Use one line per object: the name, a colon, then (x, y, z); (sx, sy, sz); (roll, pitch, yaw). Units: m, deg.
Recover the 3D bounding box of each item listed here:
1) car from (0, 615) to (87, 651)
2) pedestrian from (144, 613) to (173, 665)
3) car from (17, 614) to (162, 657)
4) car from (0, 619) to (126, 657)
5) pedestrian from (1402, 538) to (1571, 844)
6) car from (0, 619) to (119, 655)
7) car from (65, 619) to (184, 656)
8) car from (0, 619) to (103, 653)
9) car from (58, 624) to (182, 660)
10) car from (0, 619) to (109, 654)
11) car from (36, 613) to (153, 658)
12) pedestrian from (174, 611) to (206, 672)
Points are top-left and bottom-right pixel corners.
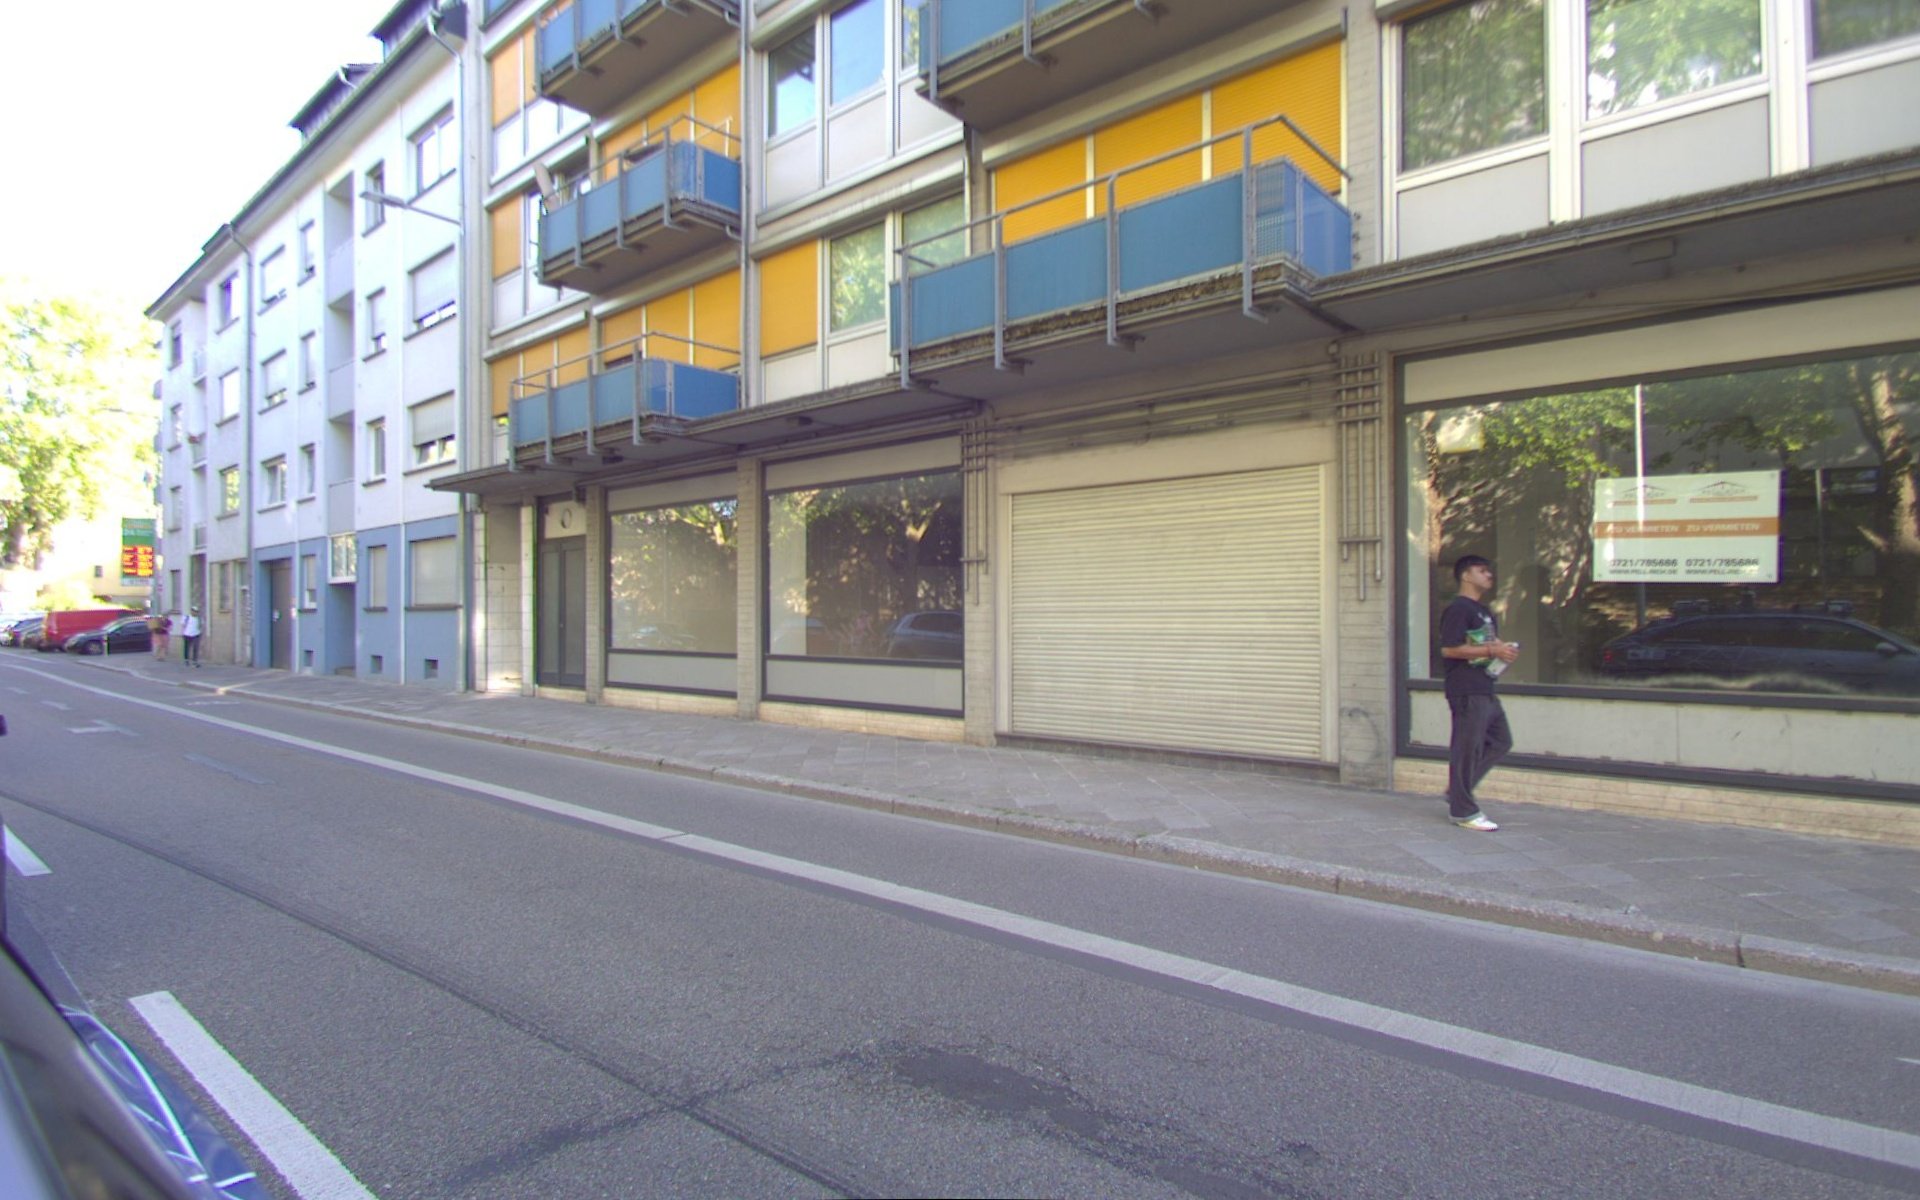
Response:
car: (-59.334, 2.094, 64.714); (2.186, 2.164, 5.077); (-1, -1, 41)
pedestrian: (-26.434, 1.275, 33.356); (0.842, 1.654, 0.596); (-1, 0, 41)
car: (-42.681, 1.698, 49.715); (2.256, 1.995, 5.156); (-1, -1, 41)
car: (-50.287, 2.083, 56.831); (2.186, 1.952, 5.077); (-1, -1, 41)
pedestrian: (3.342, 0.535, 6.432); (0.793, 1.785, 0.655); (-1, -1, 41)
car: (-52.226, 2.106, 58.720); (2.159, 1.952, 4.990); (-1, -1, 41)
car: (-37.867, 1.675, 45.943); (1.742, 1.572, 3.946); (-1, -1, 41)
car: (-55.960, 2.155, 61.988); (2.314, 1.952, 4.978); (-1, -1, 41)
car: (-36.542, 1.785, 44.078); (1.742, 1.431, 3.946); (-1, -1, 41)
car: (-54.112, 2.127, 60.357); (2.082, 1.952, 4.928); (-1, -1, 41)
car: (-40.580, 1.631, 47.517); (1.866, 1.952, 3.946); (-1, -1, 41)
pedestrian: (-22.954, 1.220, 30.169); (0.756, 1.760, 0.600); (-1, 0, 41)
